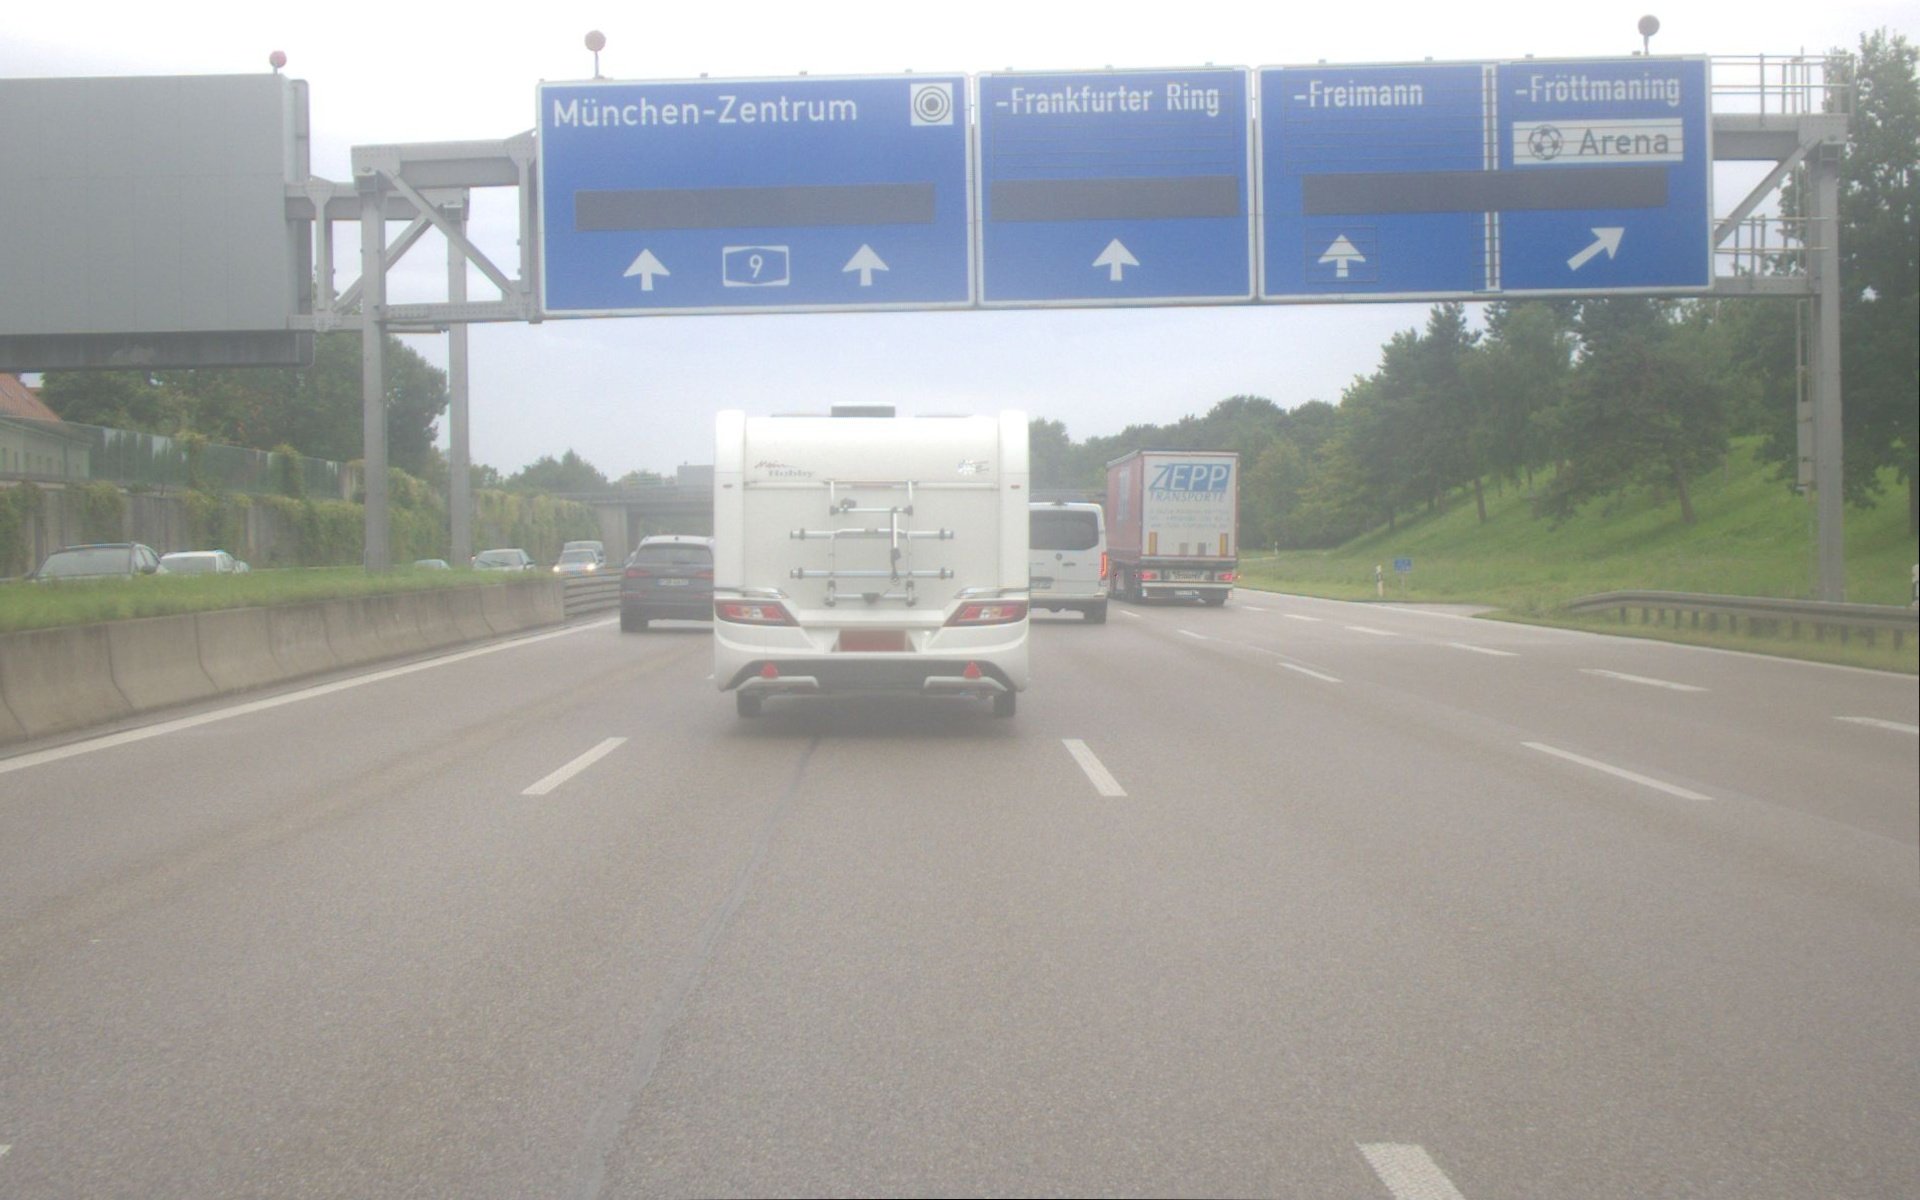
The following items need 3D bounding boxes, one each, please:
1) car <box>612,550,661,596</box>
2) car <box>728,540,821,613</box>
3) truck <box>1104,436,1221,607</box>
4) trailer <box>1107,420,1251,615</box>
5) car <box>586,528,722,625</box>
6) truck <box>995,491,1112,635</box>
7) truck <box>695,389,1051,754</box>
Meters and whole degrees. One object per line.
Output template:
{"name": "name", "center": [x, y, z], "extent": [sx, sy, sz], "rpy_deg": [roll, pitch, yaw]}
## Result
{"name": "car", "center": [-14.616, -1.226, 155.429], "extent": [1.854, 2.007, 3.852], "rpy_deg": [1, 1, -1]}
{"name": "car", "center": [-4.658, -0.596, 86.822], "extent": [2.128, 1.700, 4.113], "rpy_deg": [2, 0, -1]}
{"name": "truck", "center": [5.870, -2.263, 100.511], "extent": [3.048, 4.822, 5.850], "rpy_deg": [1, 1, 0]}
{"name": "trailer", "center": [5.822, -2.155, 93.303], "extent": [3.100, 4.905, 11.790], "rpy_deg": [1, 1, 0]}
{"name": "car", "center": [-5.273, -0.418, 59.863], "extent": [1.993, 1.594, 5.124], "rpy_deg": [1, 1, -1]}
{"name": "truck", "center": [1.837, -0.743, 69.303], "extent": [2.053, 2.760, 5.549], "rpy_deg": [1, 1, -1]}
{"name": "truck", "center": [-0.713, -0.242, 28.680], "extent": [2.661, 2.733, 5.078], "rpy_deg": [1, 1, -1]}
